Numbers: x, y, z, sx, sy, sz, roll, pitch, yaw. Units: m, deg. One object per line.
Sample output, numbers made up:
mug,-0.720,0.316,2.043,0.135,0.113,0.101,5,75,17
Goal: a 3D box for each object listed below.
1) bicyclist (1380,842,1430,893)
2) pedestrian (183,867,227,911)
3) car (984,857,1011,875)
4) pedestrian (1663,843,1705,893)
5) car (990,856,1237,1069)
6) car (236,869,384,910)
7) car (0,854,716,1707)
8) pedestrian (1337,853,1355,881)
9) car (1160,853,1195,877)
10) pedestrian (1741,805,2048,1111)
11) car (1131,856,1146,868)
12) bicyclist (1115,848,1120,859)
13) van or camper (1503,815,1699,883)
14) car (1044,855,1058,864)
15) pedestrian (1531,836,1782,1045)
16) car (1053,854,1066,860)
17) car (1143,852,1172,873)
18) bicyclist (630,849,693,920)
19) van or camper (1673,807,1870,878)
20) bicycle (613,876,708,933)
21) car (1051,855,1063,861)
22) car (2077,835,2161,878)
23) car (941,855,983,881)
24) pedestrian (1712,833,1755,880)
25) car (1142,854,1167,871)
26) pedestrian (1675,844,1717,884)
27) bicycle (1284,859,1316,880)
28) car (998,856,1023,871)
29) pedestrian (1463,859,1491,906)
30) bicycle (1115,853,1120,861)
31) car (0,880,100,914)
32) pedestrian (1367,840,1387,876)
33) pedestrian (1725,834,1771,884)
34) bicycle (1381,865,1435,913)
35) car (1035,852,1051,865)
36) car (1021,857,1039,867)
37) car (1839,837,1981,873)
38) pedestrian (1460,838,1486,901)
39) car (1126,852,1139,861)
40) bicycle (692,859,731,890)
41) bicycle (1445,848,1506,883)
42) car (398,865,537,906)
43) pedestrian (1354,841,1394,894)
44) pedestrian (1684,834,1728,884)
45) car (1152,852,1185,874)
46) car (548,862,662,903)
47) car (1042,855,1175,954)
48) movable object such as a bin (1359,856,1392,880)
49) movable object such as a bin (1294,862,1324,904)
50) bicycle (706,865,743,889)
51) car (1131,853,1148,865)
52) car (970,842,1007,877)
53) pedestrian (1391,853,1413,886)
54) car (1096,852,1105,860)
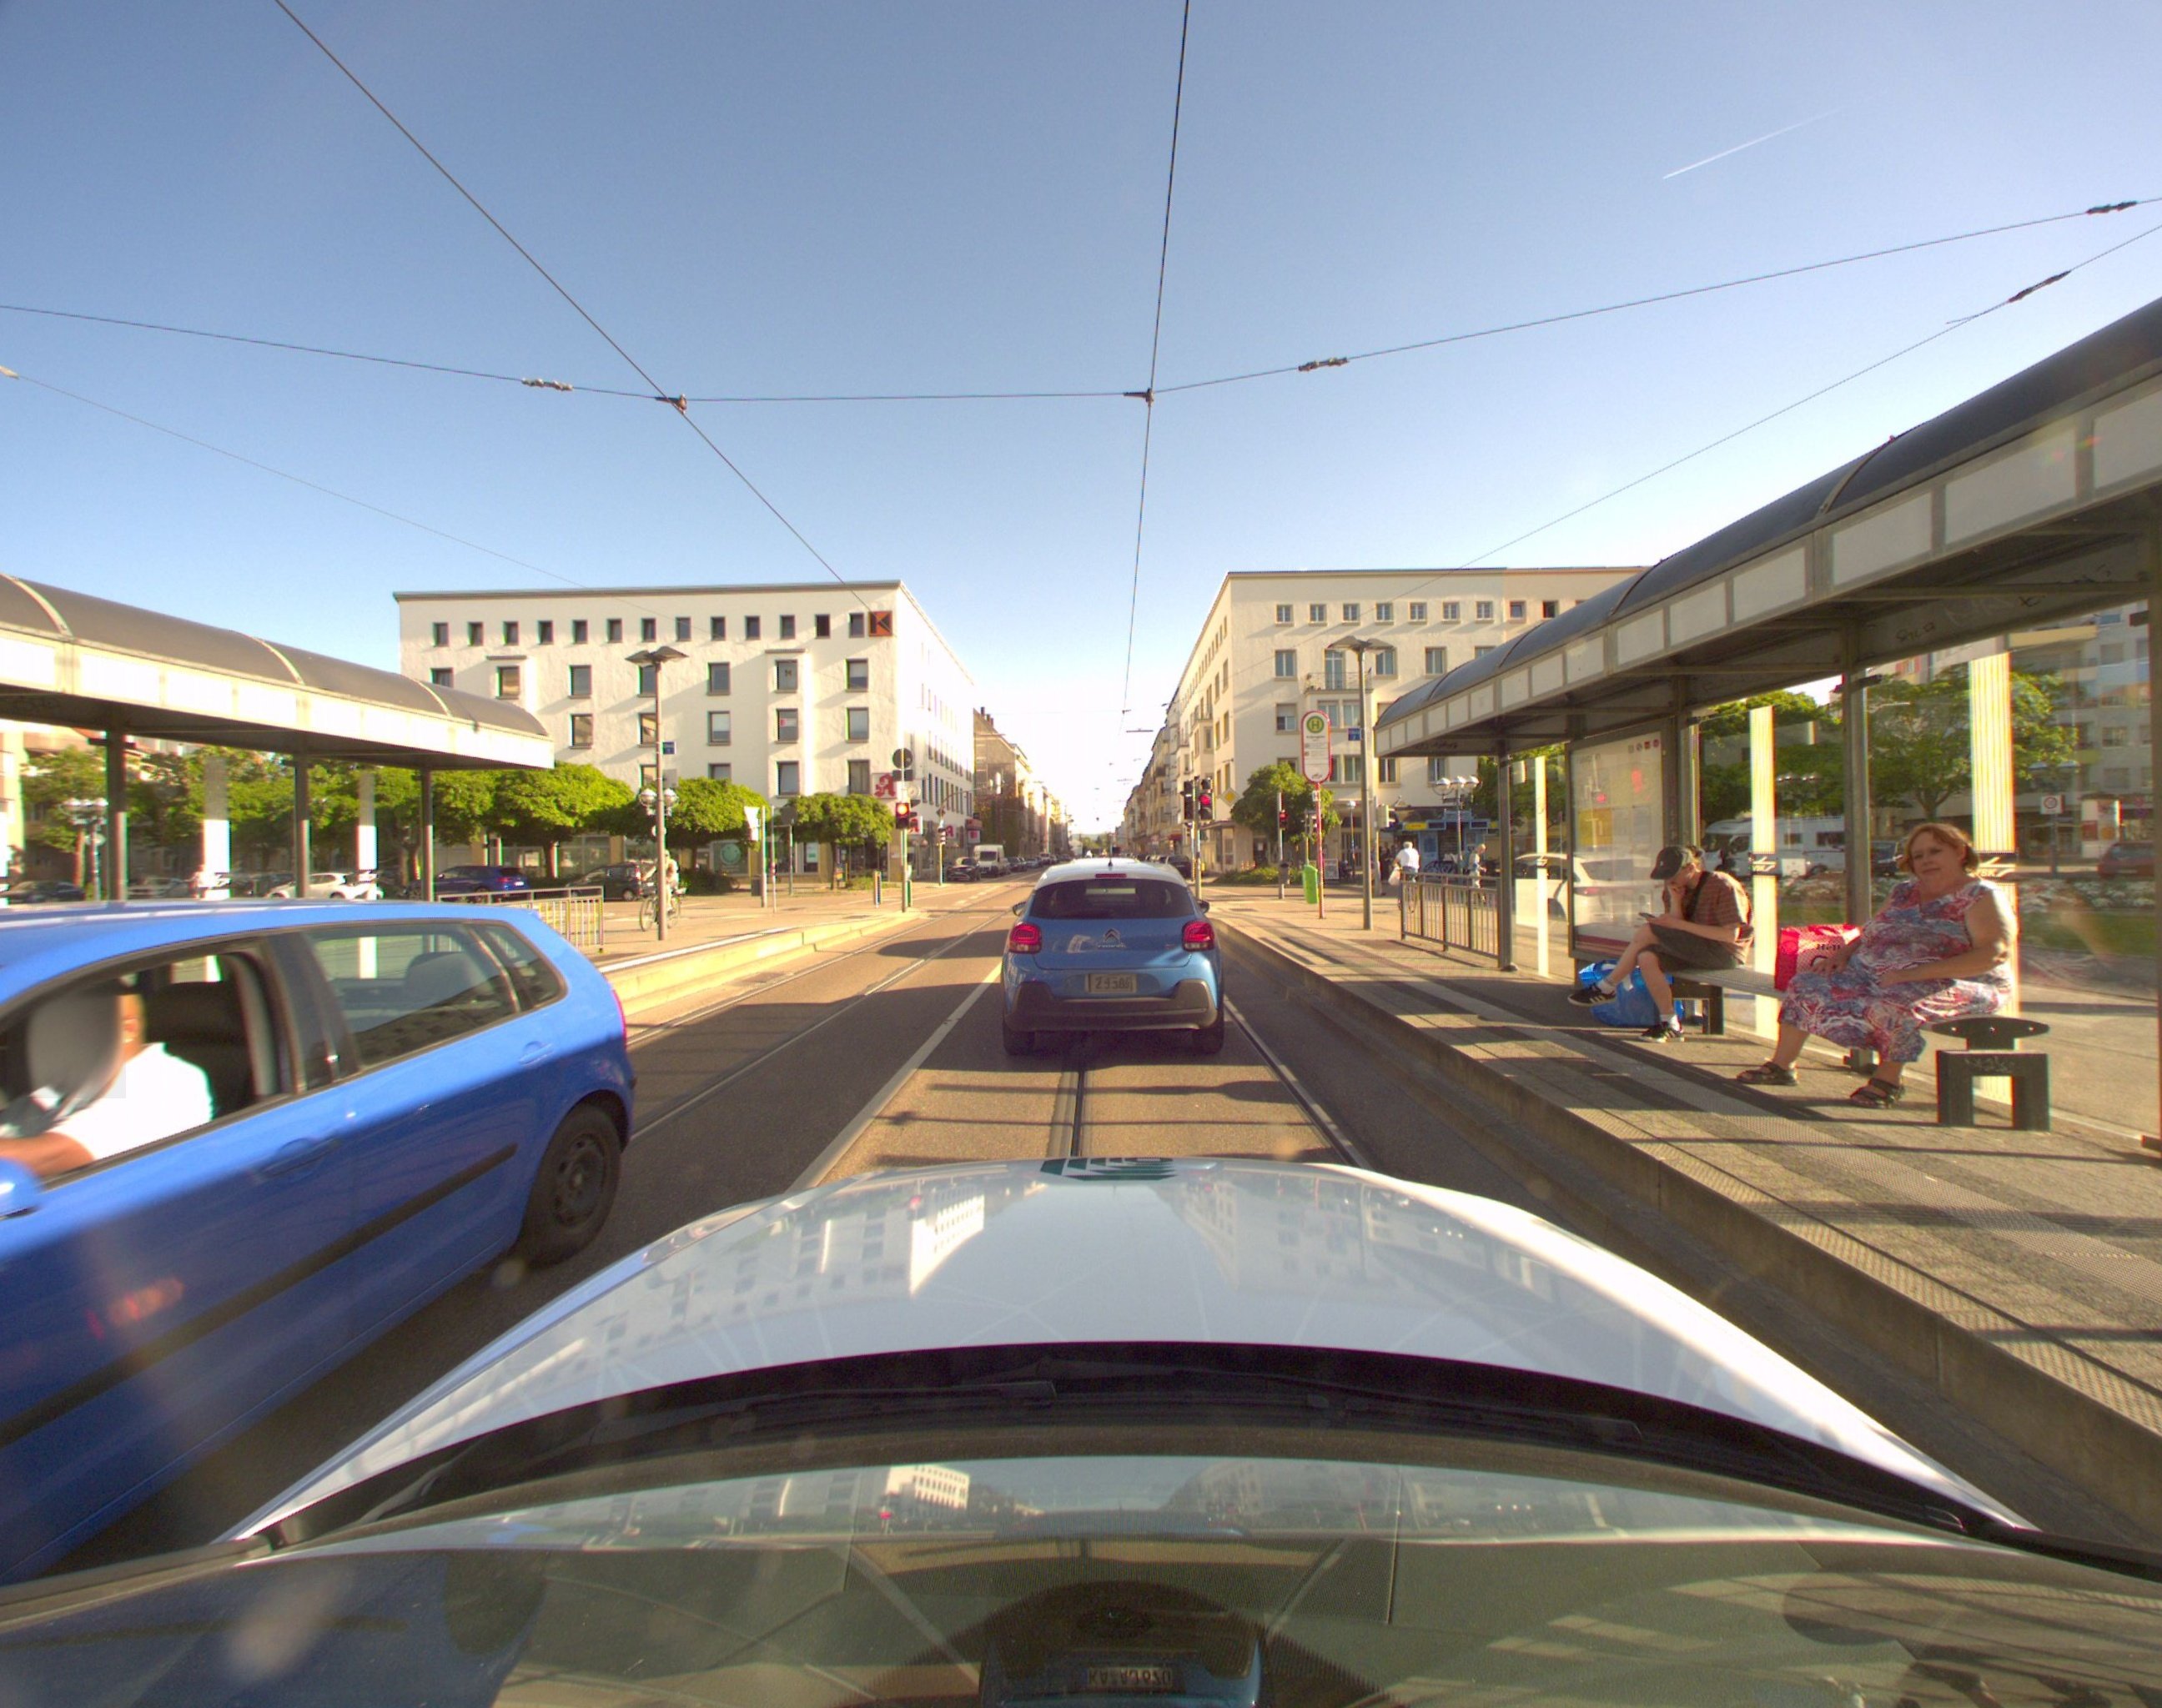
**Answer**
bicyclist,7.976,0.321,20.108,0.945,1.225,0.935,1,0,7
pedestrian,-37.005,1.458,34.407,0.938,1.817,0.872,-1,0,13
car,-7.107,1.017,69.884,1.881,1.496,3.562,0,-1,1
pedestrian,20.587,0.465,27.816,0.897,1.685,0.696,-1,0,5
car,0.282,0.764,7.622,1.721,1.482,3.828,0,0,2
car,-33.516,1.524,35.502,4.591,1.606,1.855,-1,0,-1
car,-2.695,0.781,2.134,1.662,1.487,3.998,-3,0,-1
pedestrian,12.682,0.609,38.967,0.733,1.316,0.631,-1,0,25
car,6.176,0.692,52.529,1.902,1.464,4.002,-1,0,2
pedestrian,3.886,0.464,3.948,0.855,1.334,0.623,2,-1,1
car,7.788,1.096,109.648,1.985,1.552,4.004,-1,0,4
bicyclist,6.597,-0.032,147.424,0.806,2.014,0.923,0,-1,1
van or camper,22.855,-0.240,36.028,7.093,2.747,2.372,-1,1,2
car,-5.101,0.948,136.998,1.946,1.552,3.942,0,-1,4
pedestrian,3.714,0.524,5.357,0.995,1.225,0.923,2,-1,1
car,-4.850,0.700,185.229,1.981,1.156,4.528,-1,0,11
car,5.899,0.644,62.976,1.986,1.501,4.002,-1,0,2
bicyclist,-8.942,0.639,17.375,0.822,1.455,0.879,0,-1,10
van or camper,30.120,-0.481,35.725,6.375,2.839,2.381,-1,0,5
bicycle,-8.931,1.045,17.394,0.723,1.113,1.982,-1,0,11
car,-4.525,0.705,153.885,1.986,1.156,4.002,-1,0,2
car,38.543,0.052,29.061,3.983,1.486,1.995,-1,0,-7
car,-7.655,0.900,52.778,1.987,1.569,4.403,2,-1,1
pedestrian,22.408,0.098,27.975,0.897,1.585,0.663,-1,0,5
car,6.580,0.763,73.375,1.986,1.464,4.002,-1,0,2
pedestrian,20.480,0.331,27.125,0.896,1.279,0.606,-1,0,7
bicycle,11.424,0.807,42.507,1.556,1.120,0.301,0,-1,12
car,-6.767,0.866,78.504,1.987,1.398,4.157,0,-1,1
pedestrian,10.521,0.753,21.666,0.554,1.225,0.528,0,-1,12
bicycle,6.654,0.573,147.471,0.916,1.389,3.133,-1,0,2
car,-52.275,2.141,41.119,1.925,1.494,4.314,0,-1,-27
pedestrian,15.364,0.209,42.265,0.781,1.839,0.679,-1,0,5
pedestrian,21.508,0.158,26.262,0.897,1.585,0.663,-1,0,5
bicycle,7.966,0.819,19.937,0.714,1.061,2.328,1,0,8
car,-5.867,0.661,127.212,1.997,2.014,4.694,0,-1,4
car,-6.453,1.022,103.574,1.987,1.325,3.923,0,-1,1
car,36.581,0.049,36.063,3.959,1.511,2.007,0,-1,13
pedestrian,10.949,0.437,22.759,0.554,1.745,0.528,0,-1,12
car,8.370,0.390,133.250,1.986,1.464,4.002,-1,0,2
bicycle,-19.832,1.094,43.770,0.614,1.607,2.625,-1,0,6
bicycle,17.717,0.506,36.596,2.376,1.531,0.726,1,0,0
car,-27.187,1.390,36.195,4.591,1.662,1.999,-1,0,-1
pedestrian,10.512,0.487,29.241,0.978,1.878,1.128,-1,-1,-1
pedestrian,20.357,0.166,26.528,0.897,1.585,0.663,-1,0,5
car,6.101,0.611,57.067,1.986,1.464,4.002,-1,0,2
car,-21.246,1.262,36.453,3.973,1.706,1.826,-1,0,1
car,0.476,0.757,14.564,1.977,1.464,4.817,0,0,2
movable object such as a bin,14.474,0.685,40.067,1.194,1.153,1.218,-1,0,2
movable object such as a bin,4.345,0.544,15.525,0.447,0.786,0.489,-1,0,4
bicycle,-19.109,1.233,43.728,0.615,1.190,2.624,-1,0,5
car,7.343,0.631,102.127,1.986,1.464,4.507,-1,0,2
car,-7.122,0.416,63.137,2.078,2.542,6.206,0,0,1
pedestrian,14.468,0.693,36.702,0.727,1.409,0.755,-1,3,2
car,4.534,0.448,186.353,1.986,1.772,4.002,-1,0,2
